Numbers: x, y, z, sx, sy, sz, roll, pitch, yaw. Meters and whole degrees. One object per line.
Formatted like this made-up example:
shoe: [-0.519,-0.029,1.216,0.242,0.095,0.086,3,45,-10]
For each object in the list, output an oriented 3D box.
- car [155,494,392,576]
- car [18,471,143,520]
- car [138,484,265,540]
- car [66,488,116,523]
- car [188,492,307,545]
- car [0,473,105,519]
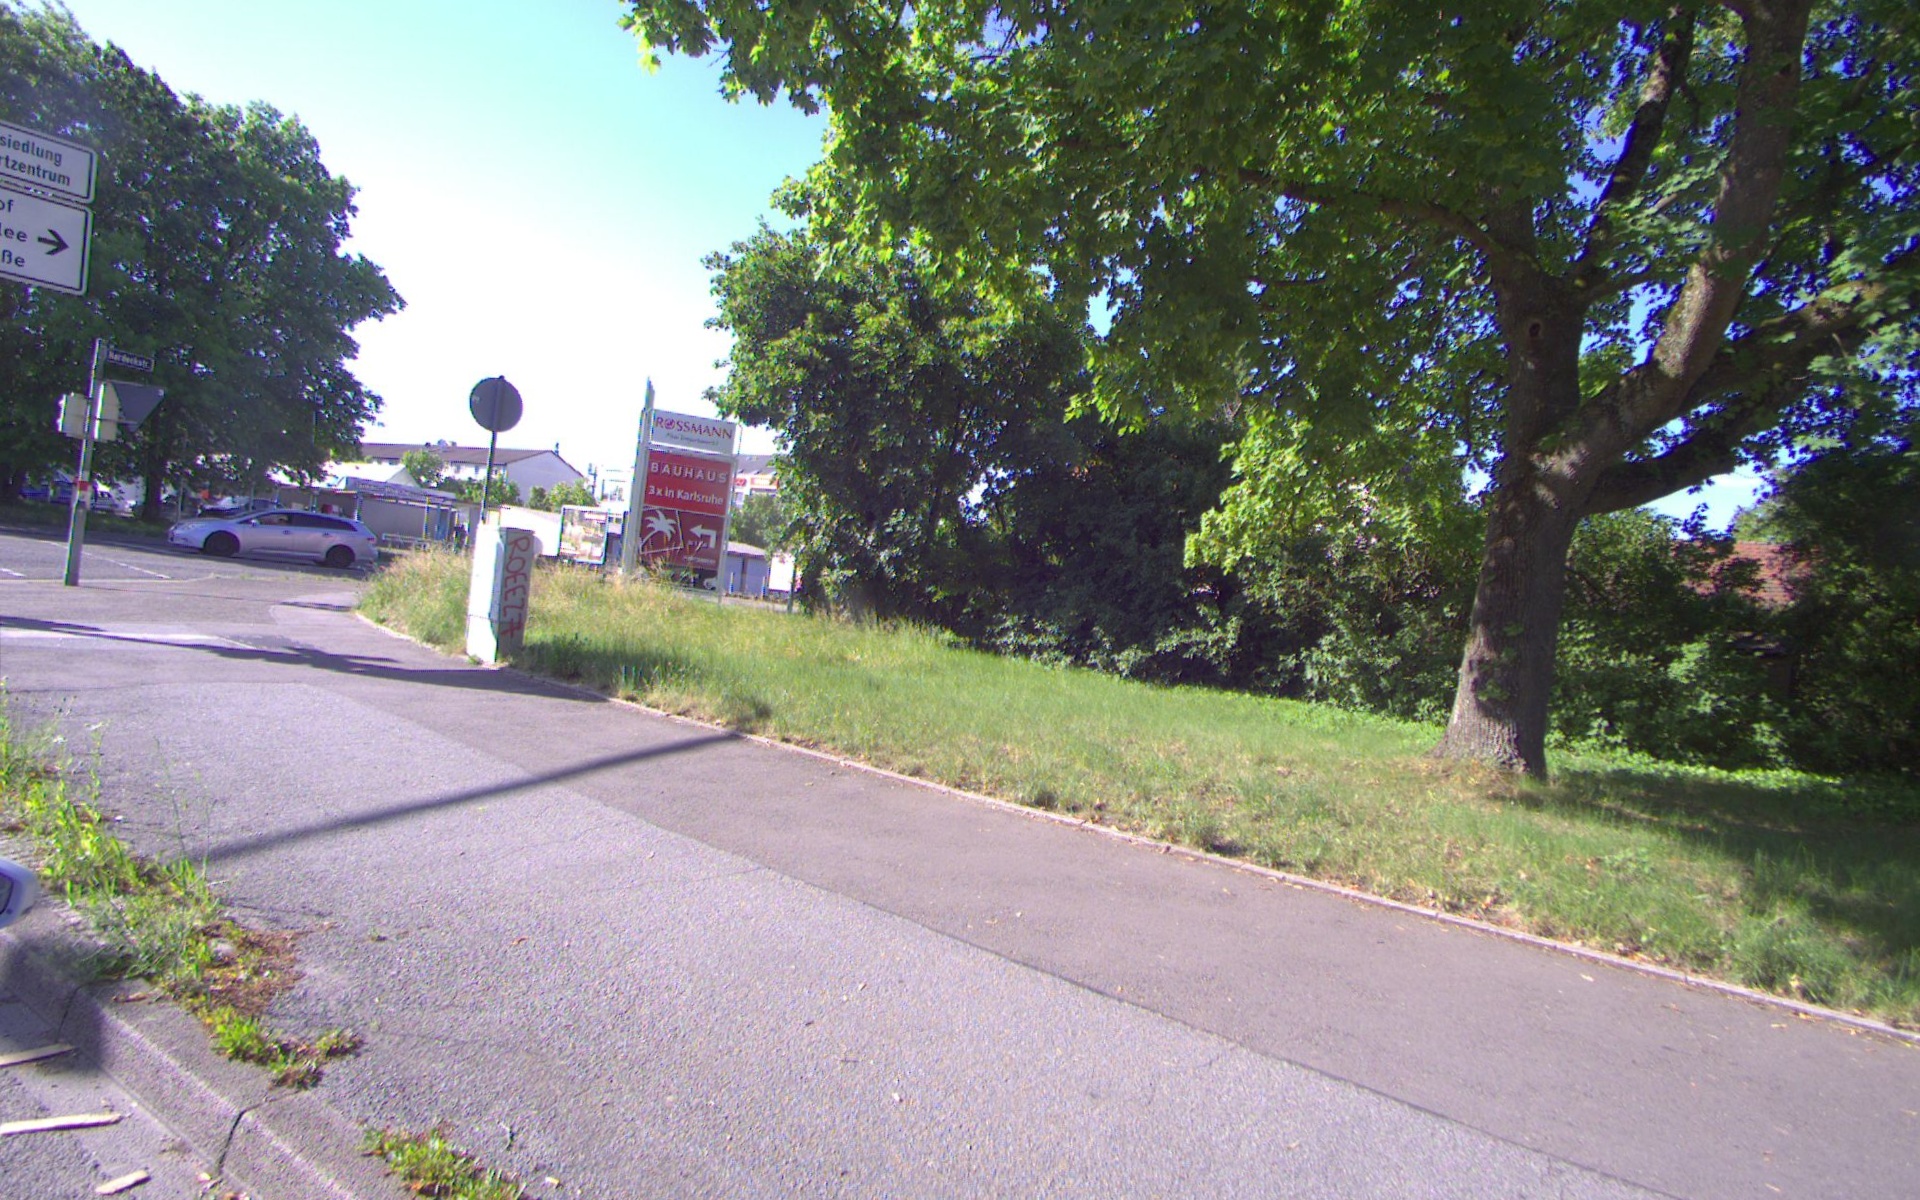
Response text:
car: [-18.651,-1.734,27.530,1.973,1.504,4.994,7,0,43]
car: [-39.181,-4.627,44.937,1.712,1.537,3.902,7,0,9]
car: [-32.342,-3.714,43.025,1.962,1.772,4.000,7,1,9]
car: [-50.887,-5.544,58.909,3.946,1.701,1.736,7,1,43]
car: [-30.298,-3.427,42.921,1.712,1.701,4.001,7,0,9]
car: [-41.992,-4.769,46.162,1.712,1.537,3.902,7,0,9]
